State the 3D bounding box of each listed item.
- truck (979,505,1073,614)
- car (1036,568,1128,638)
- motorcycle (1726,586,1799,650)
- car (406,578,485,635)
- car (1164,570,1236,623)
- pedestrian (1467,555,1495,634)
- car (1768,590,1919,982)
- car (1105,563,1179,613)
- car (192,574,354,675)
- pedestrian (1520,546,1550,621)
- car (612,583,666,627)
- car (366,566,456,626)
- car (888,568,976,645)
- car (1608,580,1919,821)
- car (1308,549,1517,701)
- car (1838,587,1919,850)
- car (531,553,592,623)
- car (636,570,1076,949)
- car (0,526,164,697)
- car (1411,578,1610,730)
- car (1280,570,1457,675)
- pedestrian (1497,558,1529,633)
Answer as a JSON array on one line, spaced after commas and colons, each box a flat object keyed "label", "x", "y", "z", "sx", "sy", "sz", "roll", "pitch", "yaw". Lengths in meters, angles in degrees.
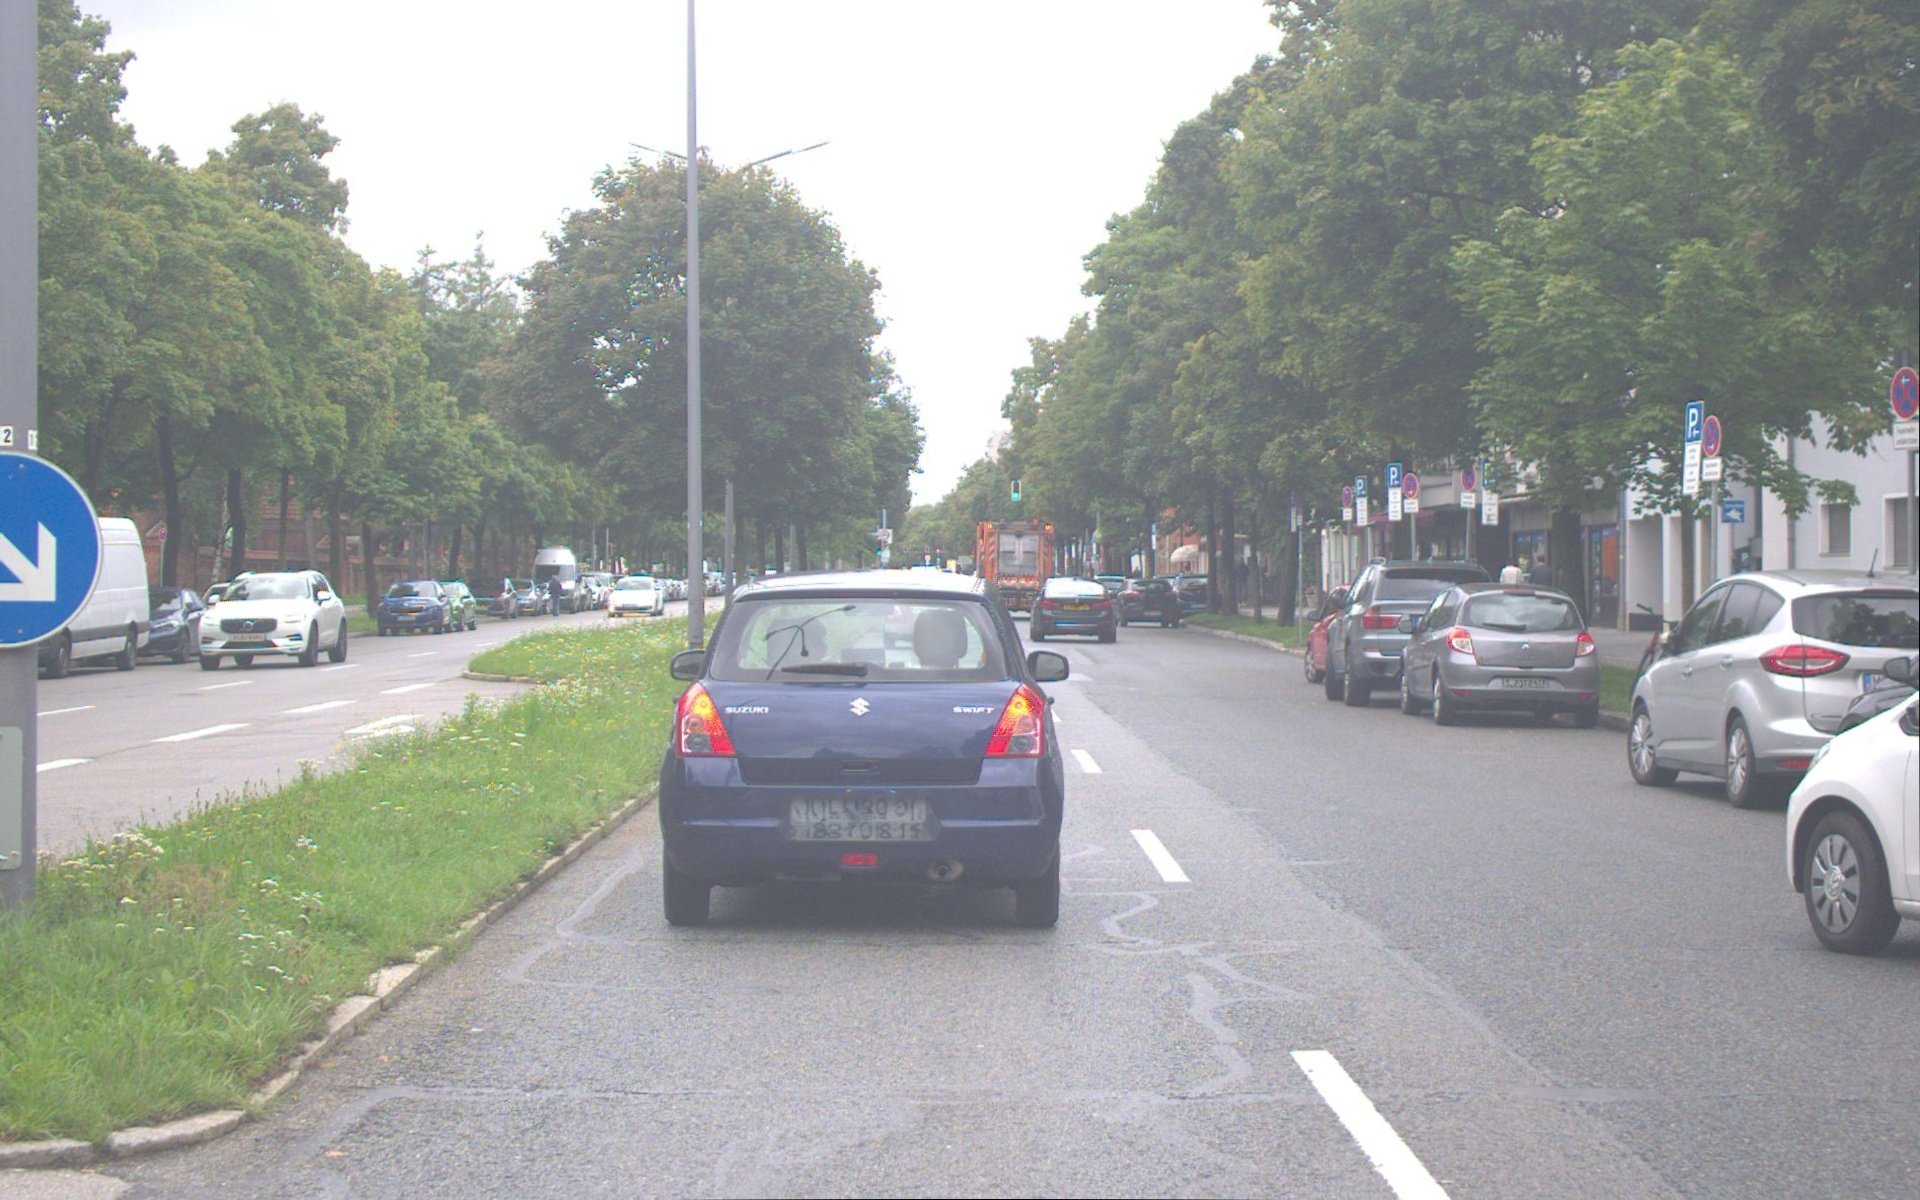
[{"label": "truck", "x": 2.220, "y": -1.408, "z": 119.622, "sx": 3.041, "sy": 3.545, "sz": 13.674, "roll": 1, "pitch": 1, "yaw": 0}, {"label": "car", "x": 2.738, "y": 0.043, "z": 78.138, "sx": 1.821, "sy": 1.472, "sz": 4.691, "roll": 2, "pitch": 0, "yaw": -1}, {"label": "motorcycle", "x": 14.098, "y": 0.313, "z": 60.446, "sx": 0.761, "sy": 1.082, "sz": 2.199, "roll": 0, "pitch": 1, "yaw": 0}, {"label": "car", "x": -15.035, "y": 0.175, "z": 100.559, "sx": 1.638, "sy": 1.532, "sz": 4.315, "roll": -3, "pitch": 1, "yaw": 0}, {"label": "car", "x": 7.619, "y": -0.138, "z": 109.564, "sx": 1.993, "sy": 1.637, "sz": 4.333, "roll": 0, "pitch": 1, "yaw": 0}, {"label": "pedestrian", "x": 11.423, "y": -0.126, "z": 75.442, "sx": 0.499, "sy": 1.727, "sz": 0.733, "roll": 0, "pitch": 0, "yaw": 0}, {"label": "car", "x": 4.727, "y": 0.721, "z": 12.735, "sx": 1.686, "sy": 1.485, "sz": 3.436, "roll": 0, "pitch": 1, "yaw": -22}, {"label": "car", "x": 5.371, "y": -0.369, "z": 101.891, "sx": 1.993, "sy": 1.447, "sz": 4.000, "roll": 0, "pitch": 0, "yaw": 0}, {"label": "car", "x": -11.747, "y": 0.387, "z": 59.039, "sx": 1.851, "sy": 1.595, "sz": 4.403, "roll": -2, "pitch": 1, "yaw": 0}, {"label": "pedestrian", "x": 12.710, "y": -0.367, "z": 75.968, "sx": 0.541, "sy": 1.635, "sz": 0.724, "roll": 0, "pitch": 0, "yaw": 0}, {"label": "car", "x": -12.034, "y": 0.165, "z": 129.231, "sx": 1.761, "sy": 1.532, "sz": 4.315, "roll": -3, "pitch": 1, "yaw": -3}, {"label": "car", "x": -15.160, "y": -0.124, "z": 95.181, "sx": 1.886, "sy": 1.532, "sz": 4.315, "roll": -3, "pitch": 1, "yaw": -2}, {"label": "car", "x": -0.571, "y": 0.113, "z": 69.467, "sx": 1.718, "sy": 1.495, "sz": 4.301, "roll": 1, "pitch": 1, "yaw": -1}, {"label": "car", "x": 5.969, "y": 0.629, "z": 24.212, "sx": 1.829, "sy": 1.517, "sz": 4.524, "roll": 0, "pitch": 1, "yaw": -2}, {"label": "car", "x": 5.439, "y": 0.268, "z": 41.864, "sx": 1.829, "sy": 1.740, "sz": 4.508, "roll": 0, "pitch": 1, "yaw": -2}, {"label": "car", "x": 6.348, "y": 0.677, "z": 18.743, "sx": 1.829, "sy": 1.468, "sz": 3.889, "roll": 0, "pitch": 1, "yaw": -5}, {"label": "car", "x": -17.323, "y": -0.537, "z": 149.697, "sx": 2.185, "sy": 2.944, "sz": 6.192, "roll": 1, "pitch": 0, "yaw": -3}, {"label": "car", "x": -0.400, "y": 0.619, "z": 15.724, "sx": 1.753, "sy": 1.499, "sz": 4.000, "roll": 0, "pitch": 1, "yaw": 0}, {"label": "car", "x": -15.087, "y": 0.138, "z": 56.825, "sx": 2.140, "sy": 2.635, "sz": 7.105, "roll": -1, "pitch": 1, "yaw": 0}, {"label": "car", "x": 5.823, "y": 0.533, "z": 36.721, "sx": 1.829, "sy": 1.517, "sz": 3.770, "roll": 0, "pitch": 1, "yaw": 5}, {"label": "car", "x": 5.758, "y": 0.291, "z": 48.843, "sx": 1.521, "sy": 1.436, "sz": 4.001, "roll": 0, "pitch": 1, "yaw": -8}, {"label": "pedestrian", "x": 12.126, "y": -0.094, "z": 75.430, "sx": 0.549, "sy": 1.624, "sz": 0.641, "roll": -2, "pitch": 0, "yaw": 0}]
